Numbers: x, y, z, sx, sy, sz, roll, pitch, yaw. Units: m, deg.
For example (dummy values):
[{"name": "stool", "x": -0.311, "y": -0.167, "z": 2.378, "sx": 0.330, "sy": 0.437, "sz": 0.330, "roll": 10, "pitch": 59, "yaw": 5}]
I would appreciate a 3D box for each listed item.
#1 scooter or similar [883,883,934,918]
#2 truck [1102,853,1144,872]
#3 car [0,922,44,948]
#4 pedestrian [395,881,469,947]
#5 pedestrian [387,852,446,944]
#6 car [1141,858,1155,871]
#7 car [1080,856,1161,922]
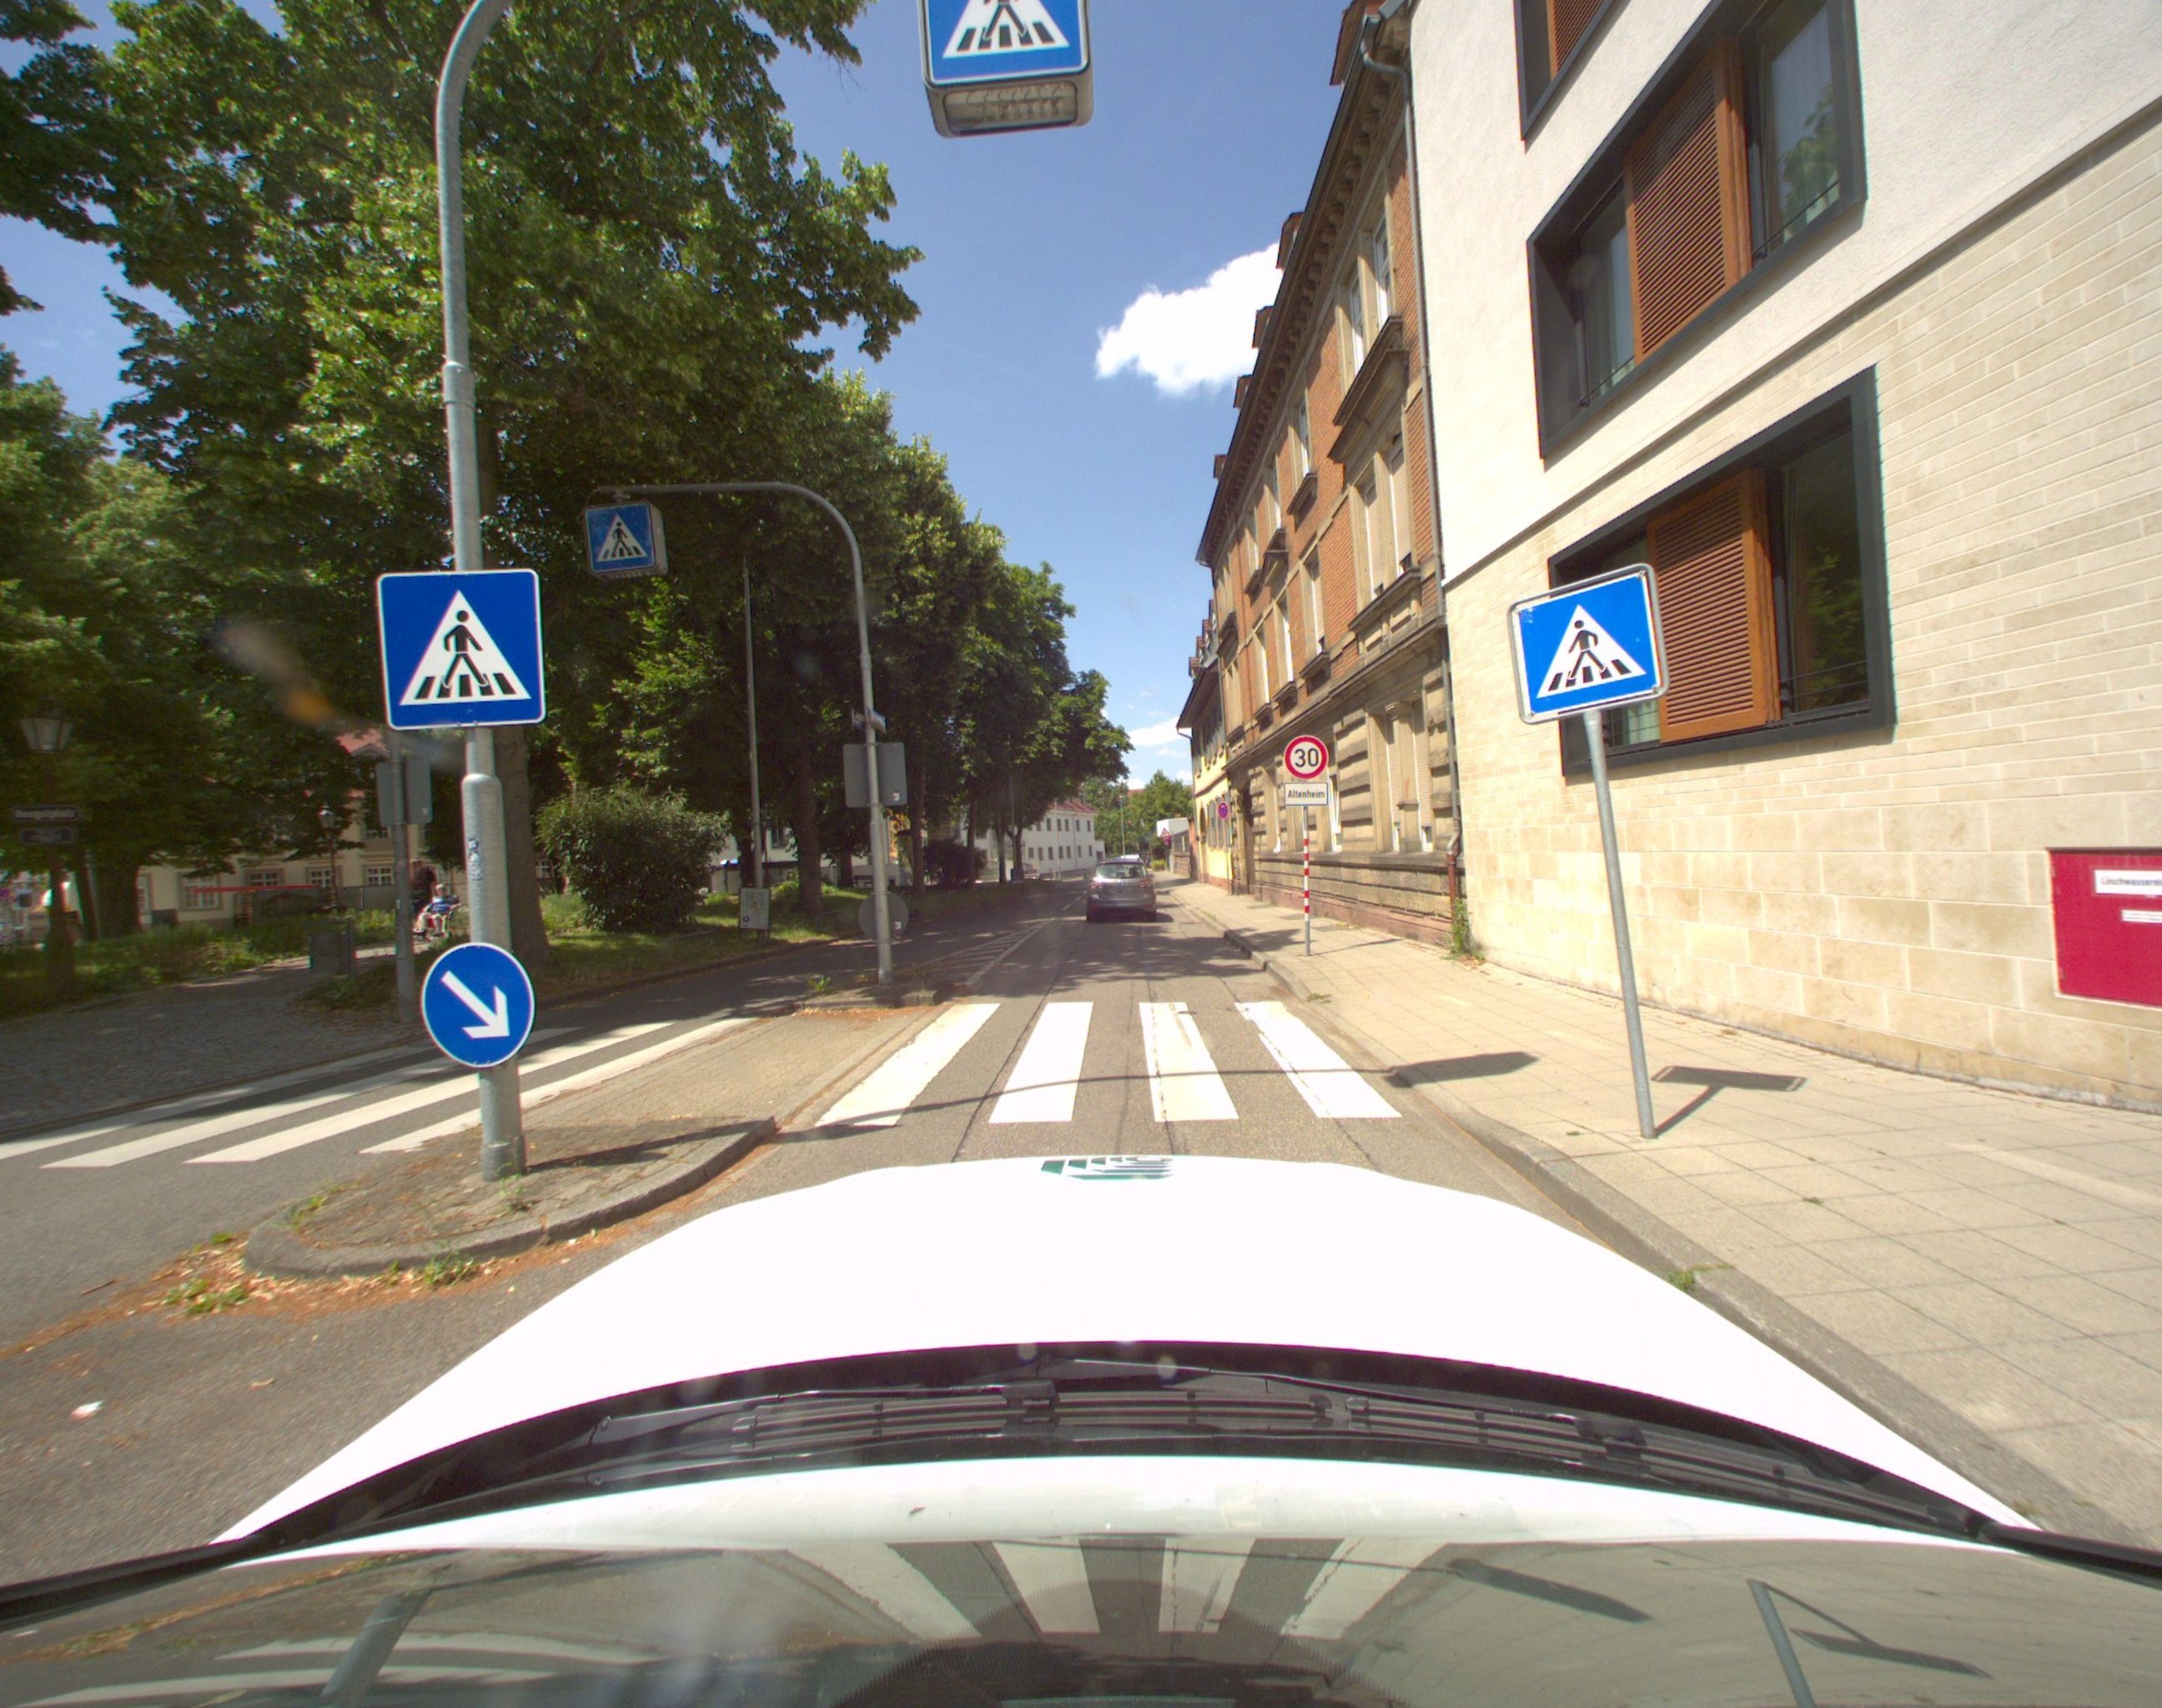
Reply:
[{"name": "scooter or similar", "x": -5.662, "y": 1.508, "z": 26.791, "sx": 1.268, "sy": 0.992, "sz": 1.452, "roll": 5, "pitch": -1, "yaw": 0}, {"name": "truck", "x": 5.007, "y": 1.047, "z": 97.779, "sx": 4.785, "sy": 2.013, "sz": 2.142, "roll": -3, "pitch": -1, "yaw": -5}, {"name": "car", "x": -69.737, "y": 5.316, "z": 53.305, "sx": 3.949, "sy": 1.486, "sz": 1.878, "roll": -4, "pitch": 0, "yaw": 44}, {"name": "pedestrian", "x": -13.773, "y": 1.240, "z": 17.318, "sx": 0.910, "sy": 1.252, "sz": 1.139, "roll": -3, "pitch": 1, "yaw": -24}, {"name": "pedestrian", "x": -14.518, "y": 0.936, "z": 17.827, "sx": 0.751, "sy": 1.910, "sz": 0.679, "roll": -3, "pitch": 1, "yaw": -24}, {"name": "car", "x": 8.426, "y": 1.296, "z": 102.290, "sx": 1.640, "sy": 1.574, "sz": 3.642, "roll": -3, "pitch": 0, "yaw": 3}, {"name": "car", "x": 1.075, "y": 0.835, "z": 21.387, "sx": 1.895, "sy": 1.534, "sz": 4.247, "roll": -1, "pitch": 0, "yaw": 4}]
